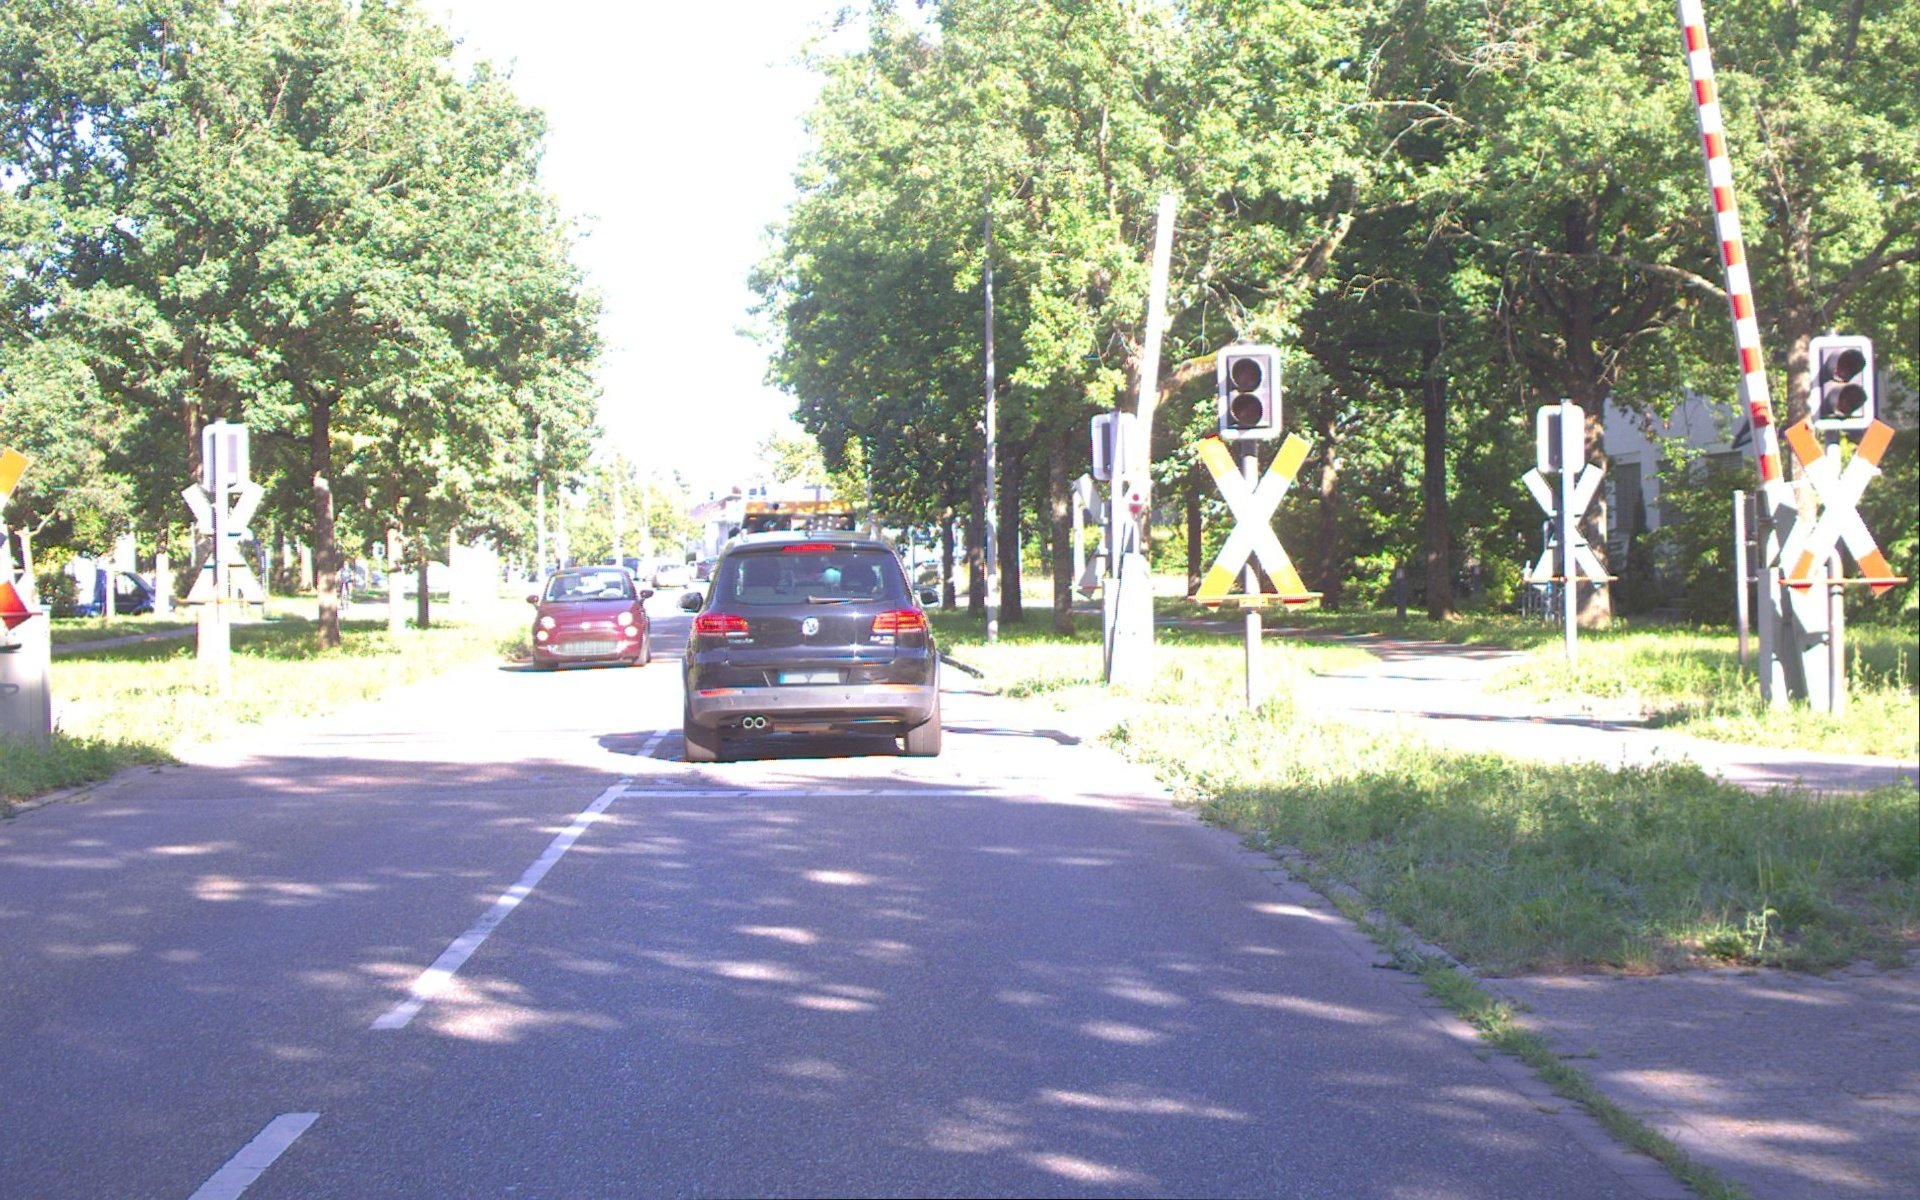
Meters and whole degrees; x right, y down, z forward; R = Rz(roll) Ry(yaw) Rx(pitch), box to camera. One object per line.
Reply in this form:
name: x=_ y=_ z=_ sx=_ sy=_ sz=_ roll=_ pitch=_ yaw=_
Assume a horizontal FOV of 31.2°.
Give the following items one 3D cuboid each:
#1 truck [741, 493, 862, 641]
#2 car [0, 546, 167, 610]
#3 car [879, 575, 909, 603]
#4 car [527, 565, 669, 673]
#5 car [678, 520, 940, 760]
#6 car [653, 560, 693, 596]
truck: x=-3.623 y=-0.799 z=80.185 sx=2.512 sy=3.232 sz=8.153 roll=-1 pitch=1 yaw=-1
car: x=-28.998 y=-0.724 z=112.735 sx=5.788 sy=2.007 sz=2.001 roll=1 pitch=1 yaw=-13
car: x=-3.386 y=-0.572 z=176.054 sx=1.452 sy=1.401 sz=2.856 roll=1 pitch=1 yaw=-2
car: x=-5.318 y=0.255 z=50.901 sx=1.565 sy=1.499 sz=4.000 roll=1 pitch=1 yaw=1
car: x=-1.064 y=0.249 z=25.684 sx=1.782 sy=1.628 sz=4.000 roll=1 pitch=1 yaw=-1
car: x=-16.264 y=-1.267 z=194.535 sx=1.993 sy=2.007 sz=4.001 roll=1 pitch=1 yaw=-8
